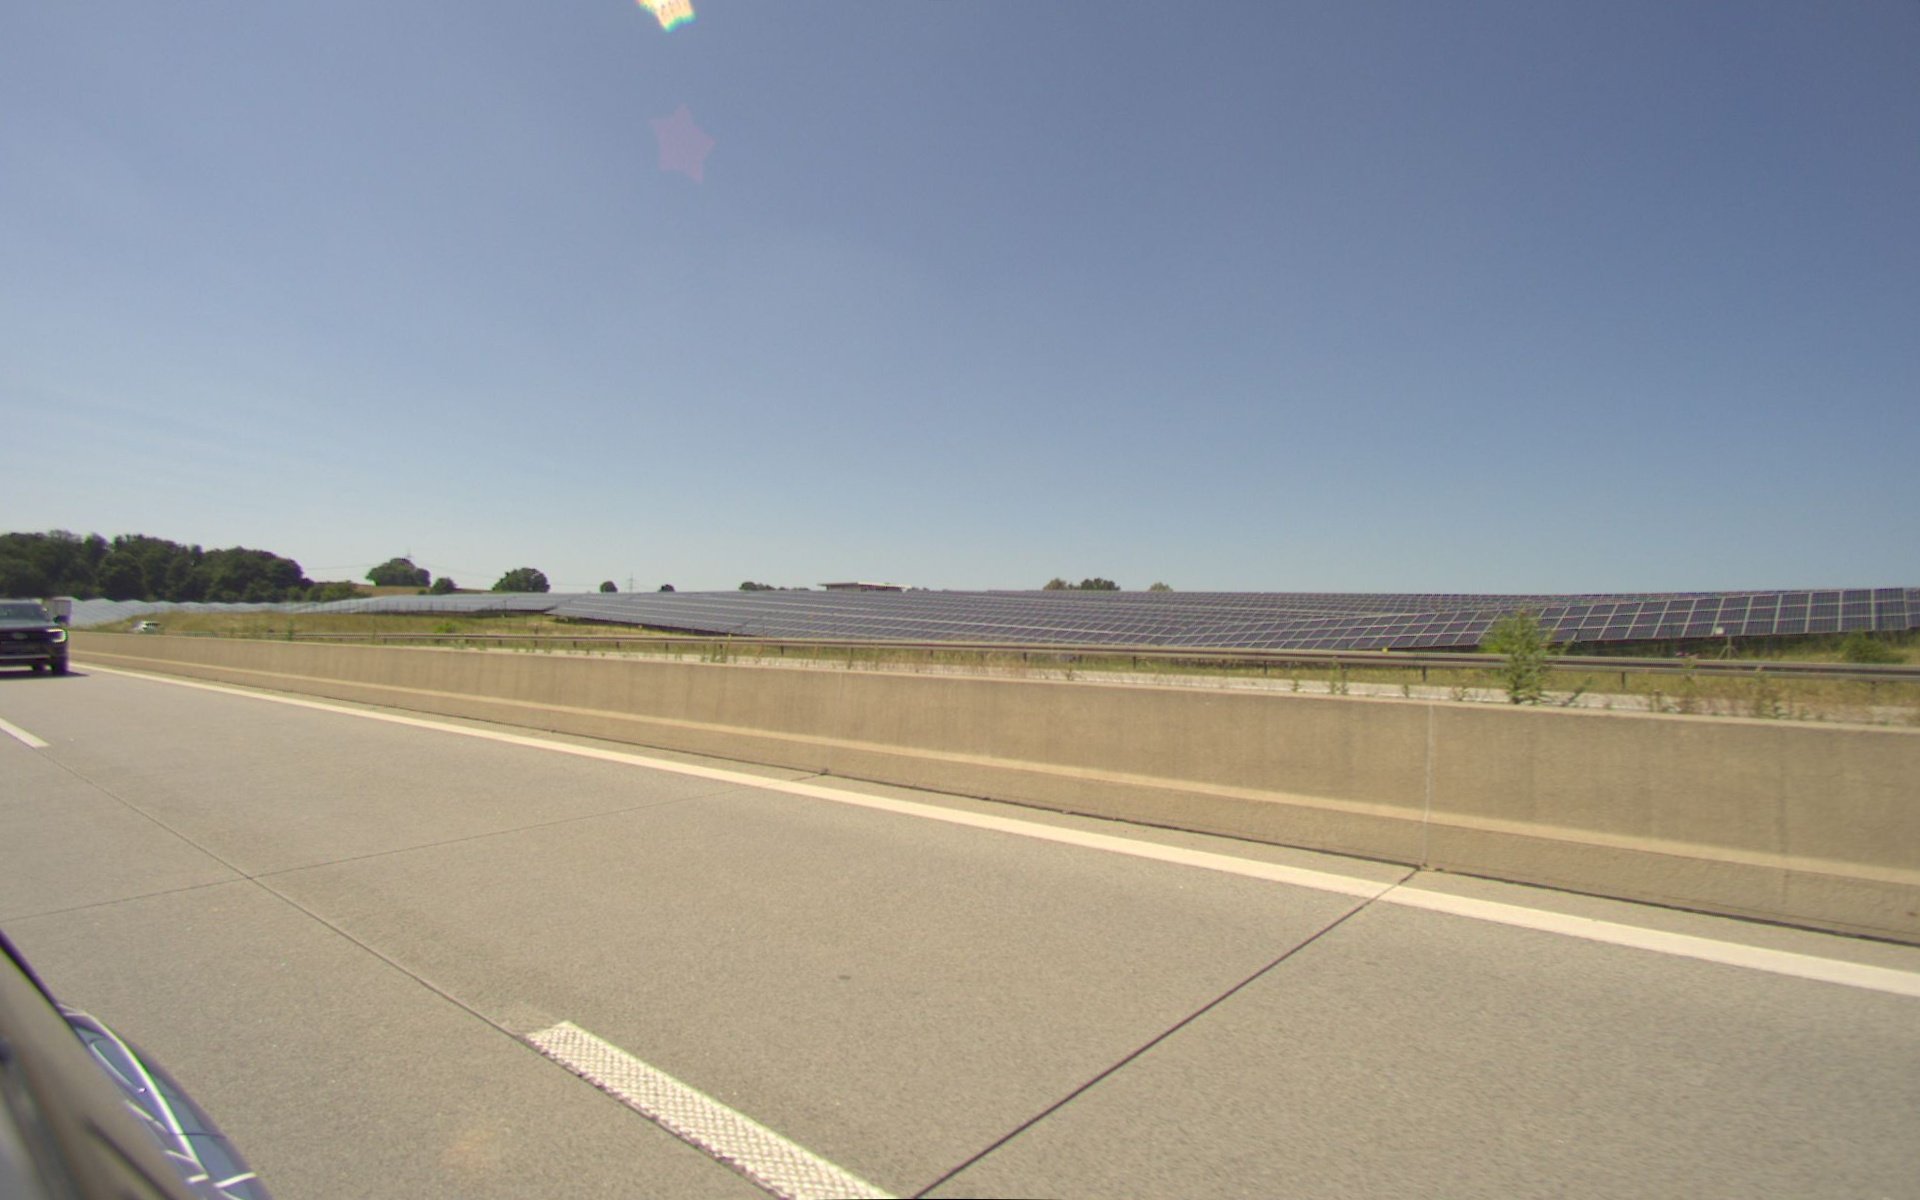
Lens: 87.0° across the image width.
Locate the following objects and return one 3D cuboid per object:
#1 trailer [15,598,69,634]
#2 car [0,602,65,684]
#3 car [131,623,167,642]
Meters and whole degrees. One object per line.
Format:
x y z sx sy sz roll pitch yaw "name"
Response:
-110.571 1.904 121.817 14.130 4.035 3.059 -1 -1 40 "trailer"
-24.058 1.020 25.271 6.530 1.860 1.972 -1 0 43 "car"
-66.430 2.646 82.869 3.997 1.493 1.609 -1 -1 41 "car"
